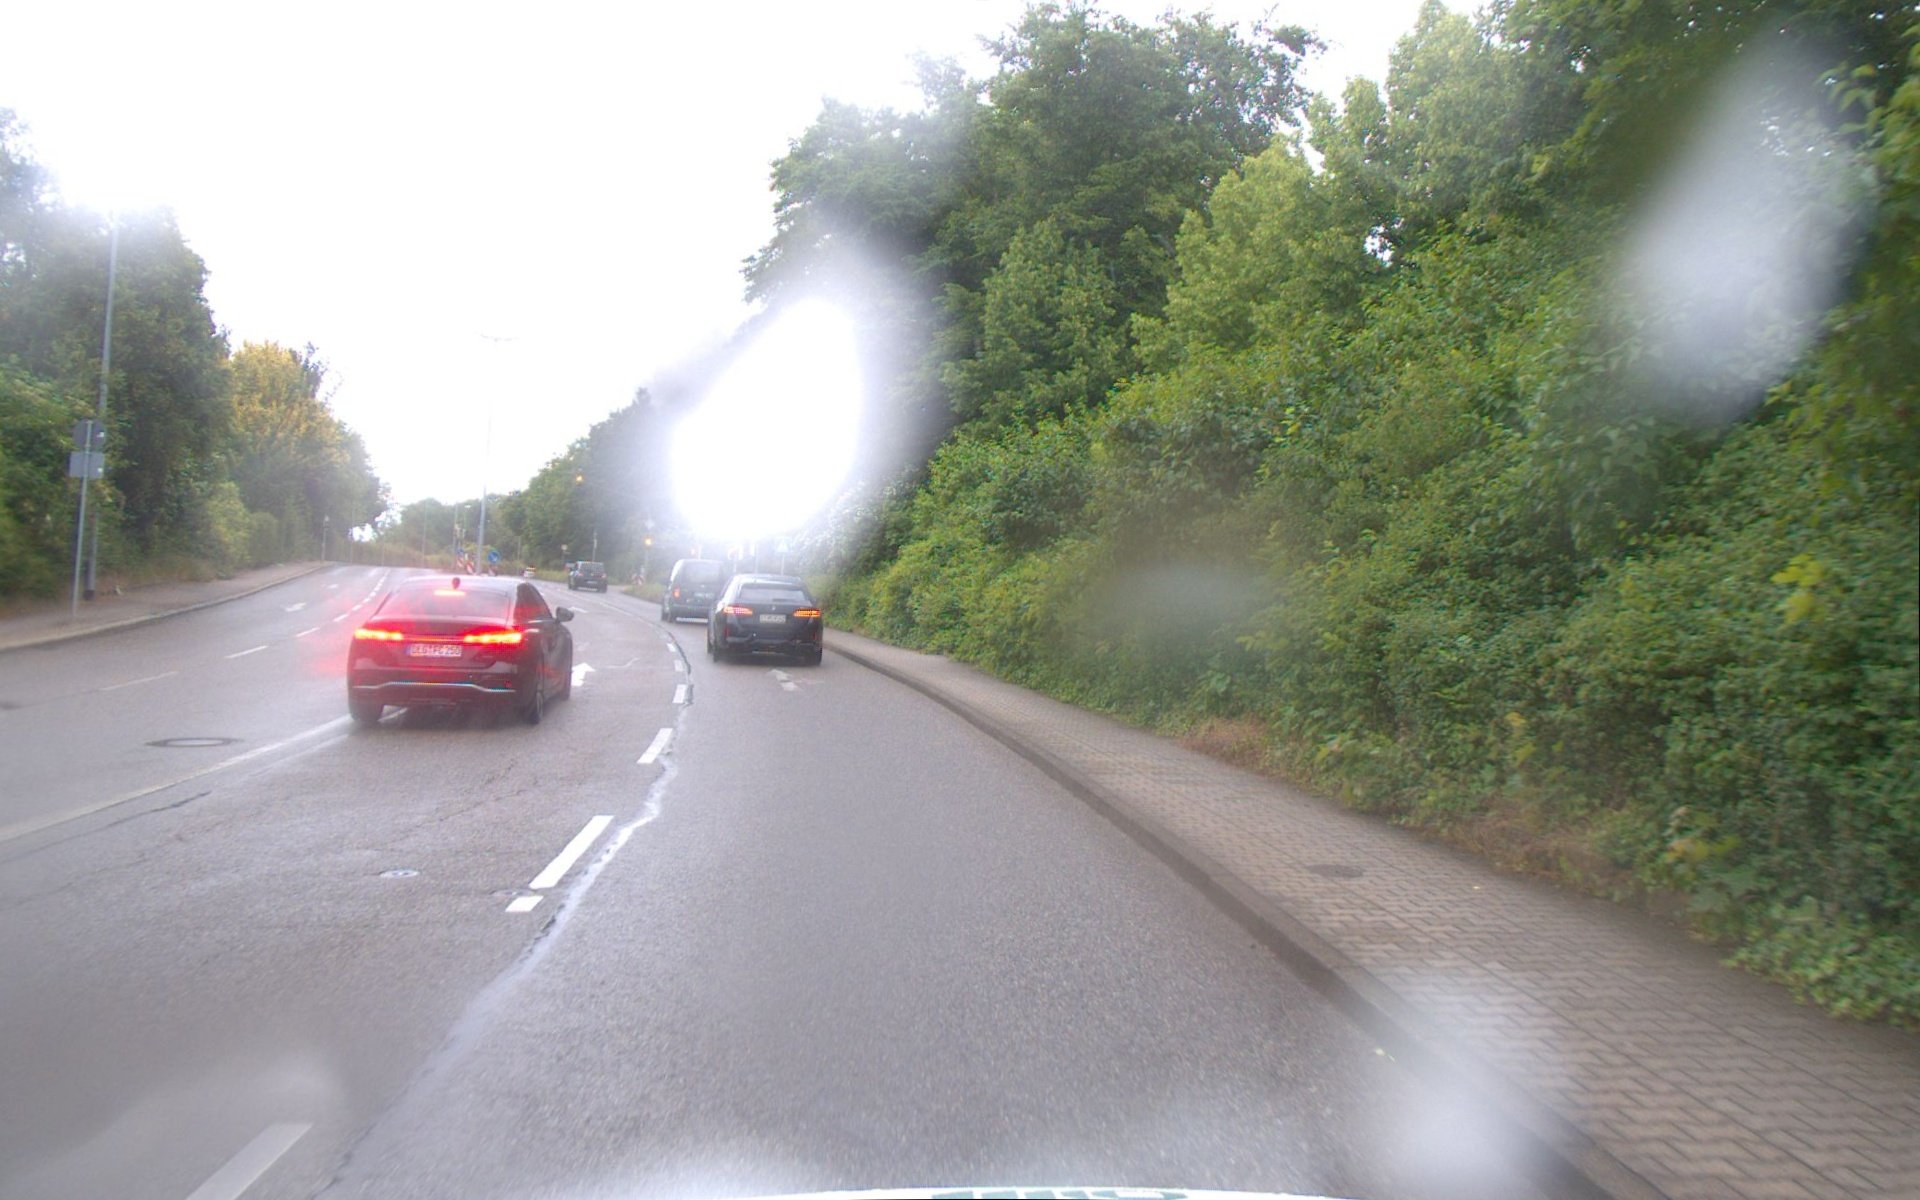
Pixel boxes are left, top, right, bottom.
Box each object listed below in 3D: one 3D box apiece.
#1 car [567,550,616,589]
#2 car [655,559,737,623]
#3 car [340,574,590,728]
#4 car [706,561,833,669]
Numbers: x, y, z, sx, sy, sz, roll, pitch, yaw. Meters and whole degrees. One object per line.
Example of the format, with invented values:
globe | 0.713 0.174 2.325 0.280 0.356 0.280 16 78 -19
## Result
car | -18.769 -1.543 84.149 1.824 1.691 3.975 3 -3 -21
car | -7.799 -0.268 48.638 1.960 1.779 3.984 1 0 -15
car | -5.161 0.467 17.895 1.870 1.422 4.848 0 0 -8
car | -3.491 0.202 29.595 1.957 1.613 4.654 2 2 -10
